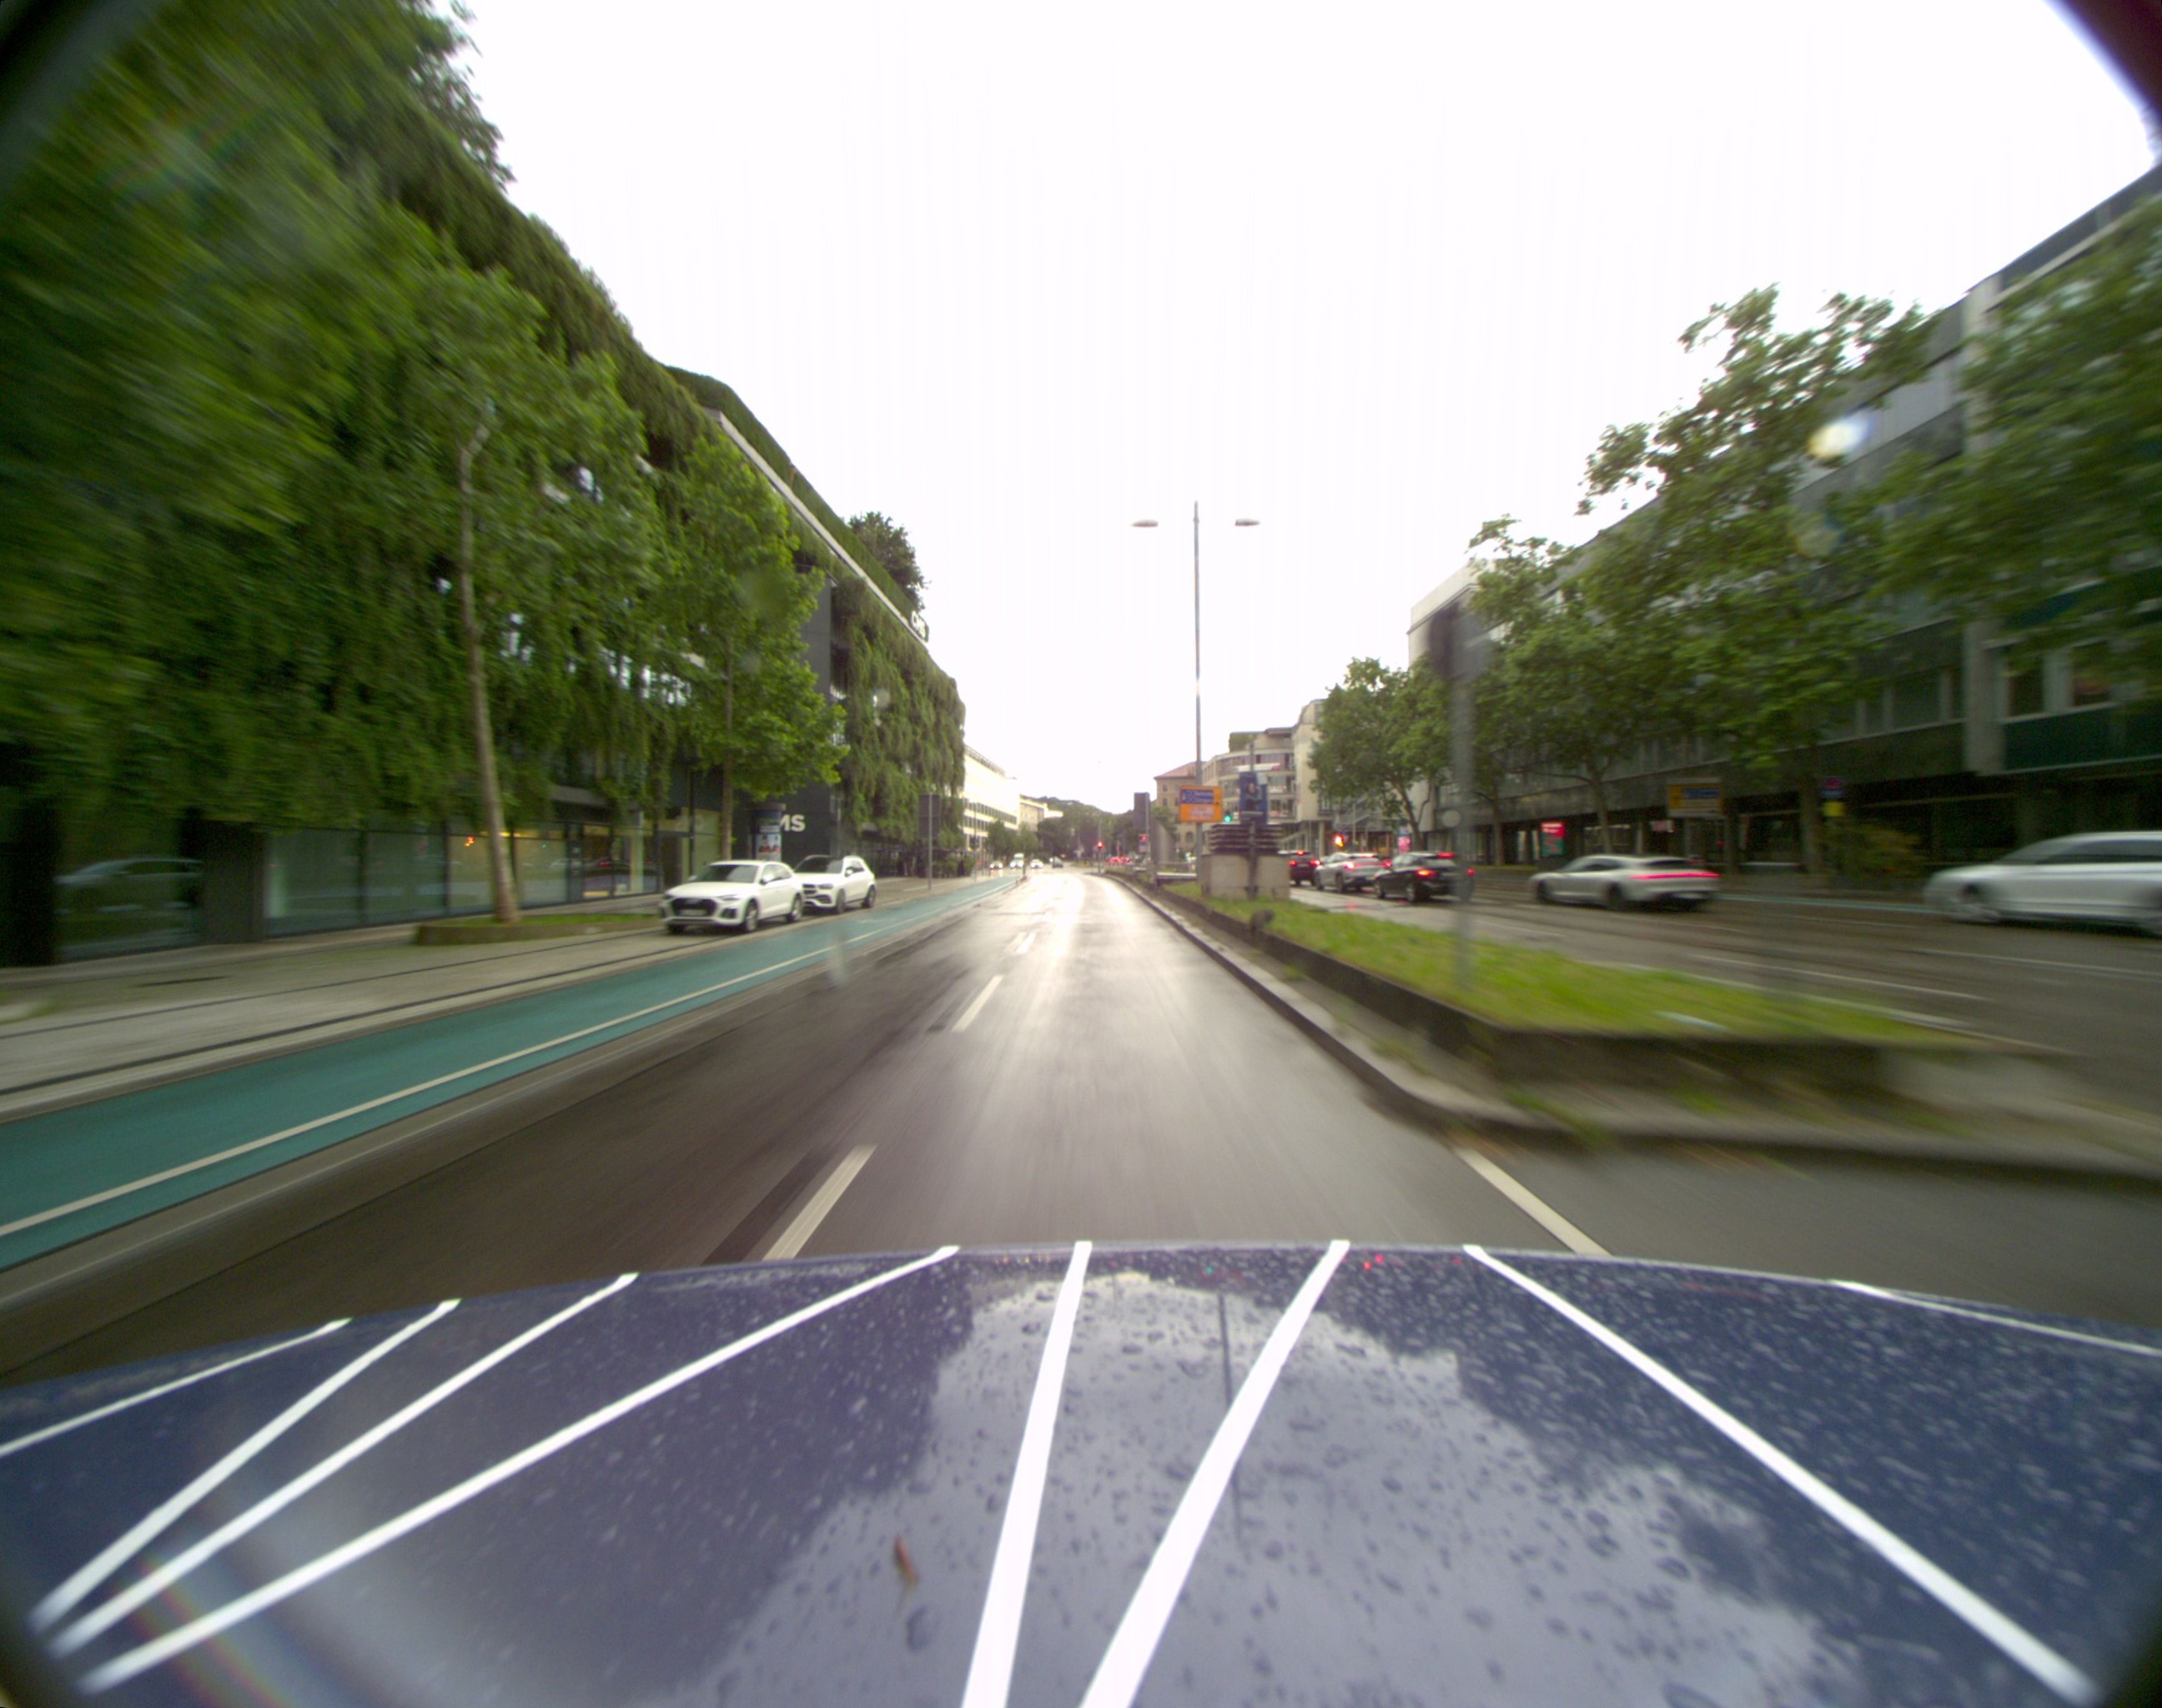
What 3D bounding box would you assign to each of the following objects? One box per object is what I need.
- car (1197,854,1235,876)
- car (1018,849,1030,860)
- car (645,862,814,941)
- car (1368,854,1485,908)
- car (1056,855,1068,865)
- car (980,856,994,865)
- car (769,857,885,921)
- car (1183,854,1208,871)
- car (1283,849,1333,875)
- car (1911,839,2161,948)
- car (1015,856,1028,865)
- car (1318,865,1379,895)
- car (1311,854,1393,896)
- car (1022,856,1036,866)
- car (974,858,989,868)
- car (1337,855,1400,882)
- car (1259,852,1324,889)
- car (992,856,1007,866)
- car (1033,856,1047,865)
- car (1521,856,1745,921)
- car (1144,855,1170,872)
[{"bbox_3d":[10.669,0.875,60.287,1.882,1.675,4.797,-1,0,-3],"label":"car"},{"bbox_3d":[-11.574,0.107,154.070,1.998,2.002,4.000,-1,0,1],"label":"car"},{"bbox_3d":[-8.327,1.039,18.579,1.848,1.623,4.787,-1,0,0],"label":"car"},{"bbox_3d":[10.932,0.794,24.416,1.918,1.543,4.543,-1,0,4],"label":"car"},{"bbox_3d":[-3.173,0.986,125.136,1.740,1.543,4.669,-1,0,-3],"label":"car"},{"bbox_3d":[-16.379,1.184,132.225,1.739,1.543,4.671,-1,0,1],"label":"car"},{"bbox_3d":[-8.024,1.031,24.585,1.847,1.827,5.095,1,0,3],"label":"car"},{"bbox_3d":[10.230,0.793,68.156,1.721,1.467,3.431,-1,0,0],"label":"car"},{"bbox_3d":[14.225,0.490,47.790,1.758,1.556,3.999,-1,0,-2],"label":"car"},{"bbox_3d":[16.927,0.584,12.363,1.765,1.605,4.547,-2,-1,-1],"label":"car"},{"bbox_3d":[-9.995,1.096,127.851,1.739,1.543,4.671,-1,0,1],"label":"car"},{"bbox_3d":[14.444,1.384,41.285,1.723,1.482,4.569,-1,0,1],"label":"car"},{"bbox_3d":[11.028,0.815,31.286,1.739,1.564,4.832,-1,0,1],"label":"car"},{"bbox_3d":[-8.342,1.172,121.678,1.739,1.543,4.671,-1,0,1],"label":"car"},{"bbox_3d":[-15.945,1.479,122.003,1.739,1.543,4.671,-1,0,1],"label":"car"},{"bbox_3d":[17.110,0.918,45.483,1.896,1.437,4.590,-1,-3,-2],"label":"car"},{"bbox_3d":[10.789,0.827,39.317,1.840,1.756,5.108,-1,0,-1],"label":"car"},{"bbox_3d":[-13.302,1.195,124.416,1.739,1.543,4.671,-1,0,1],"label":"car"},{"bbox_3d":[-6.772,1.059,126.432,1.978,1.543,4.671,-1,0,1],"label":"car"},{"bbox_3d":[13.764,0.791,19.425,1.972,1.401,4.956,-1,0,-2],"label":"car"},{"bbox_3d":[6.736,0.837,67.688,1.848,1.473,4.164,-1,0,0],"label":"car"}]
